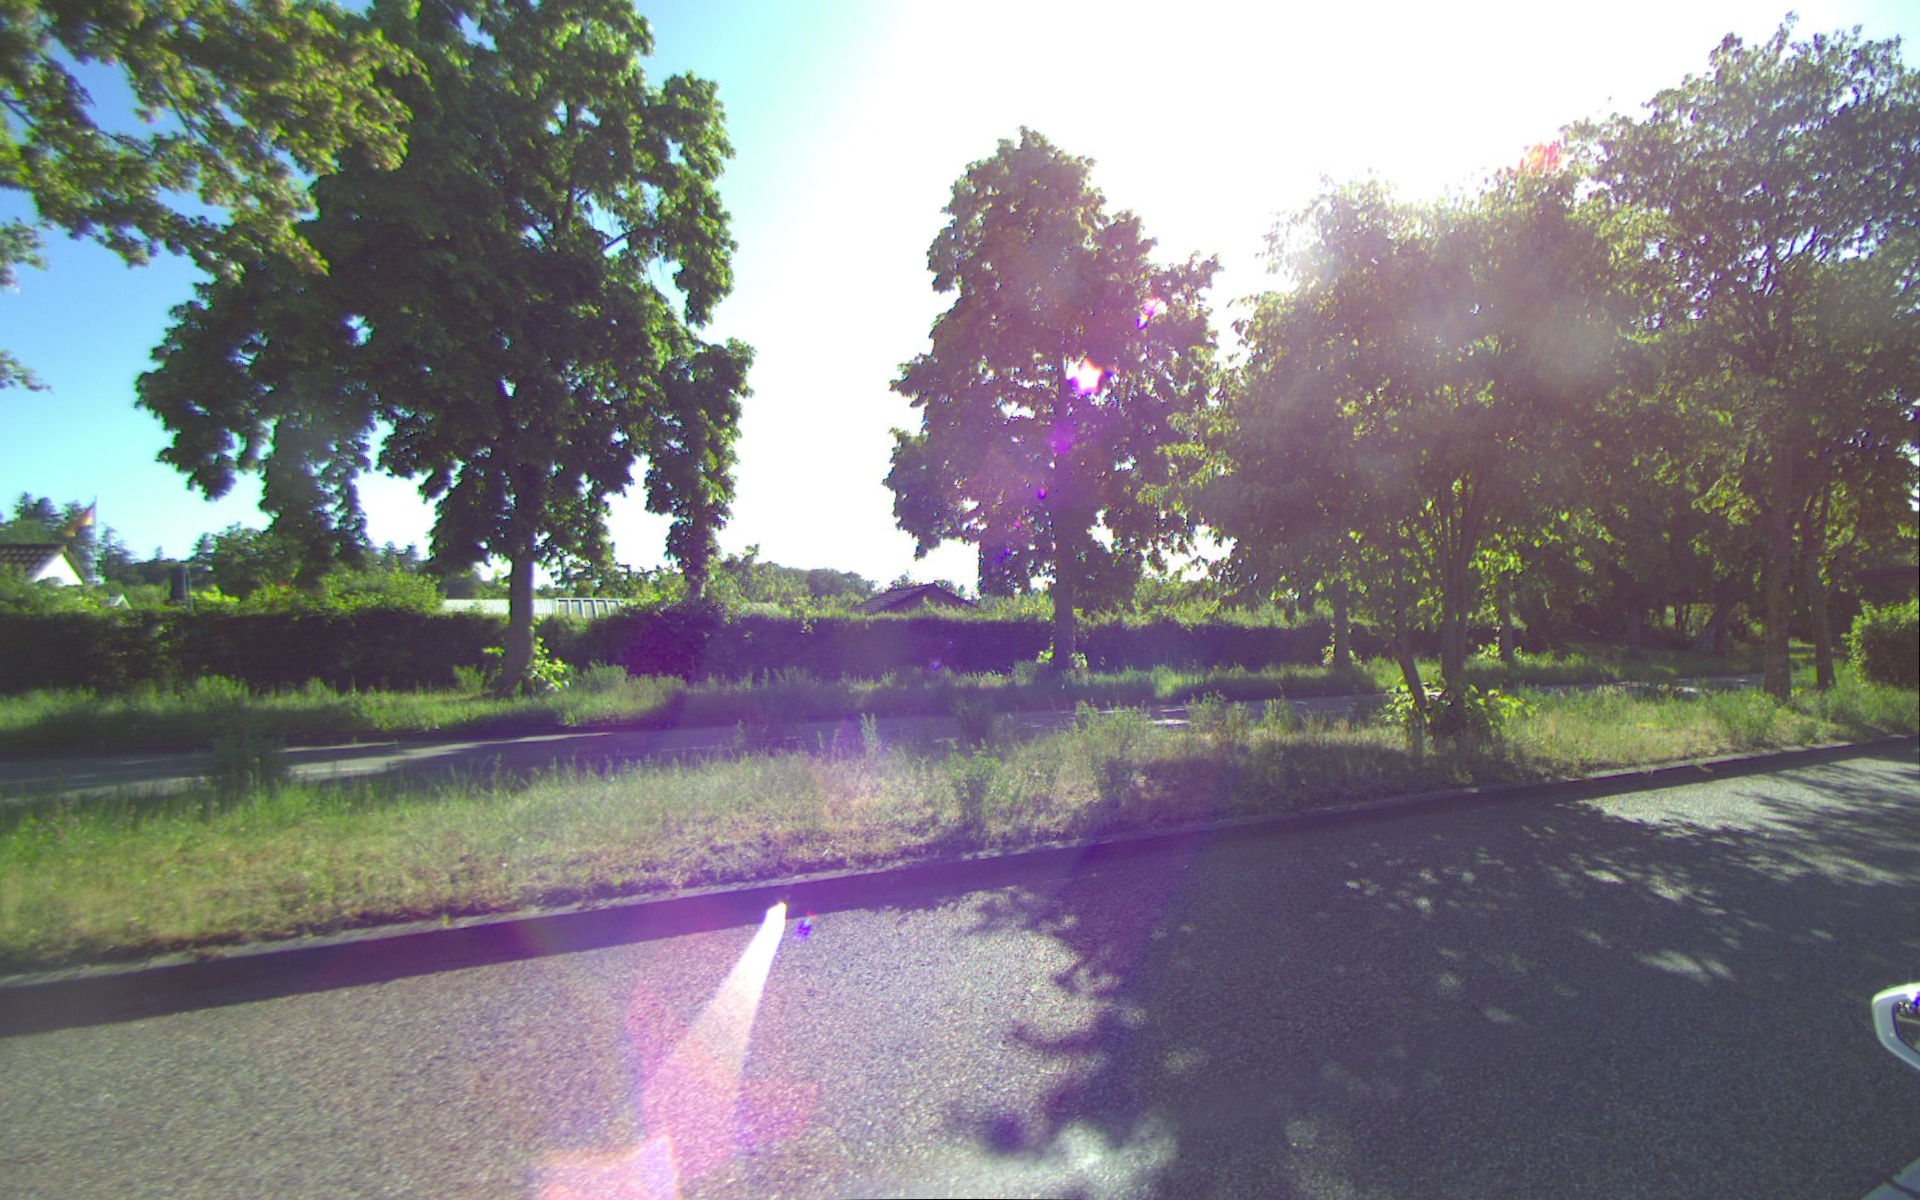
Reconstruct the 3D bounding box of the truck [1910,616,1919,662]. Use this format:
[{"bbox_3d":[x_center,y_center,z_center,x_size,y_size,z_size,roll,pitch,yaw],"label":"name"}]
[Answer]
[{"bbox_3d":[55.936,2.193,56.698,5.684,2.545,2.159,1,-4,-35],"label":"truck"}]
